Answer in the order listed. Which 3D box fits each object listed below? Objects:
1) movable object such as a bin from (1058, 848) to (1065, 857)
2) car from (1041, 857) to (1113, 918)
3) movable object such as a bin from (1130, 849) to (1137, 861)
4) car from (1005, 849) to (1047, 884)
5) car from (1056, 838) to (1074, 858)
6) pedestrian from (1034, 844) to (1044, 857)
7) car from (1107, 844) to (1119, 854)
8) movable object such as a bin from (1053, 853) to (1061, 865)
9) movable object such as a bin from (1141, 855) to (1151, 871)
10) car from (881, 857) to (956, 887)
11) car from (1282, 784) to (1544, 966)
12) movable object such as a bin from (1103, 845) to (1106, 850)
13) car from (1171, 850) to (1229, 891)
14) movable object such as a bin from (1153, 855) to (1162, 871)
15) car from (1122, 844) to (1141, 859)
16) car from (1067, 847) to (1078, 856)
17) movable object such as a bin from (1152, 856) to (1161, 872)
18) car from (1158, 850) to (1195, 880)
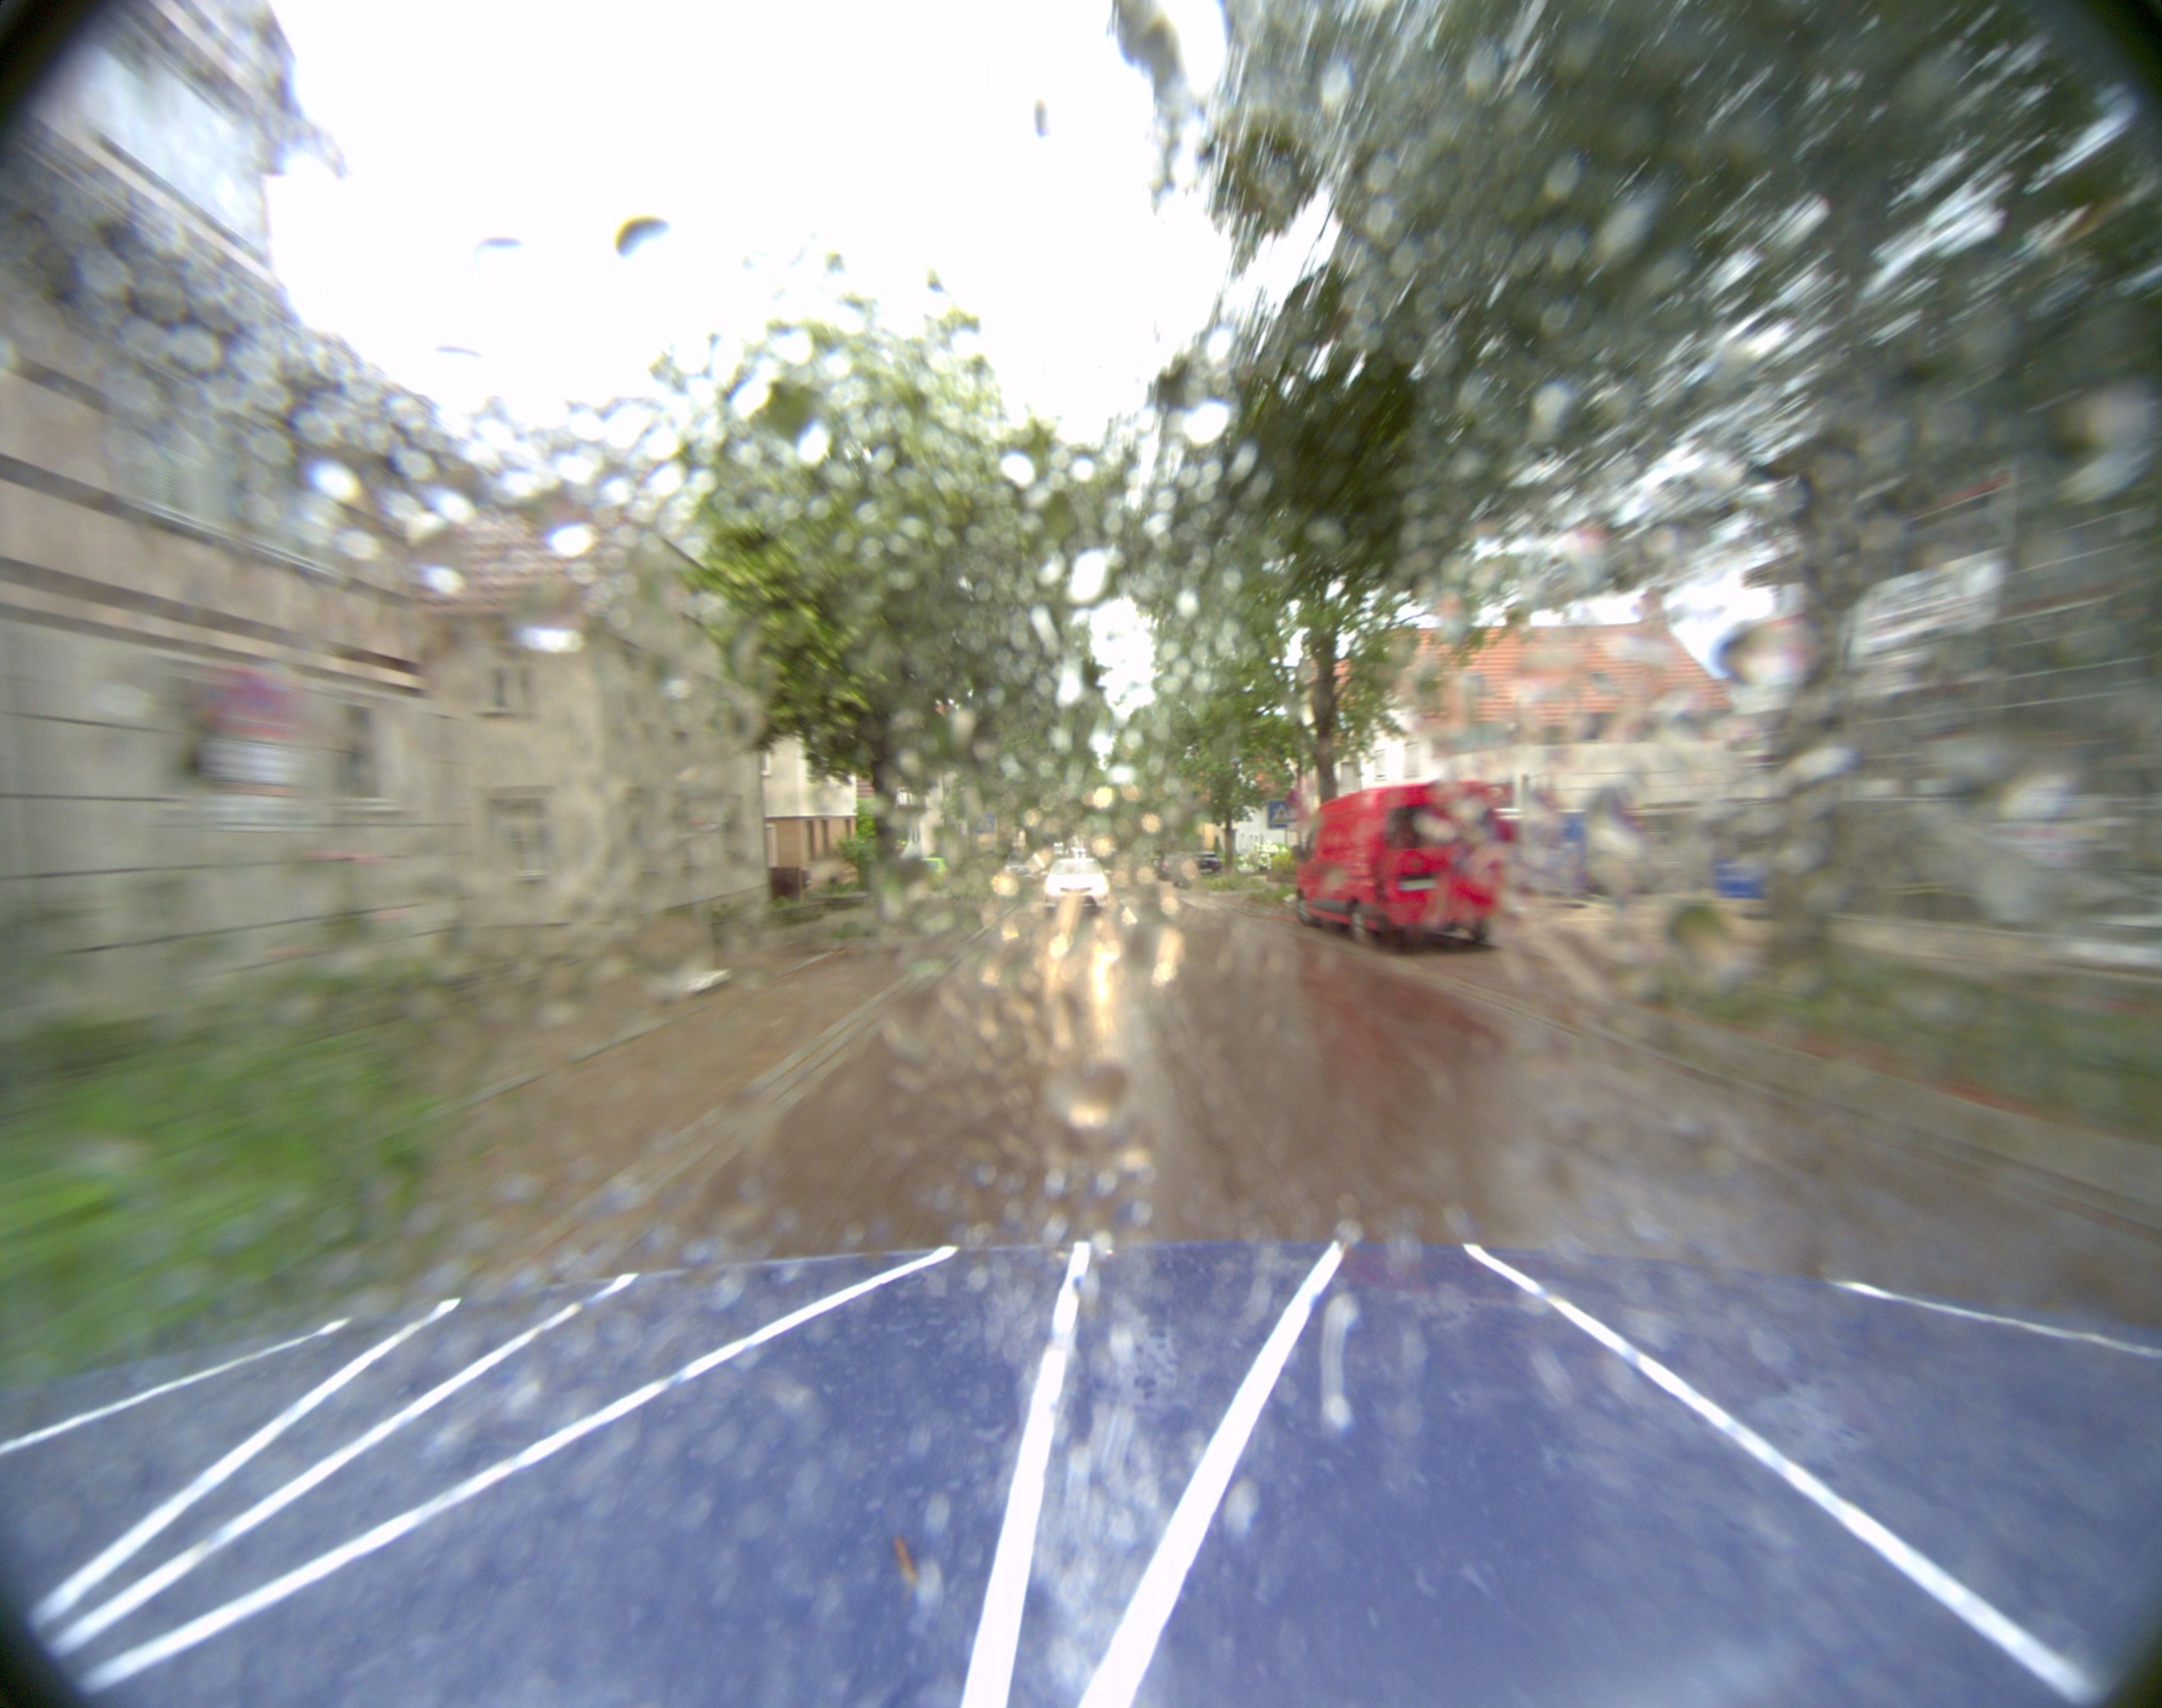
[{"bbox_3d":[-2.370,-0.209,91.182,0.799,1.069,0.878,-2,1,0],"label":"movable object such as a bin"},{"bbox_3d":[-0.028,0.872,21.579,1.828,1.451,3.875,-2,1,2],"label":"car"},{"bbox_3d":[5.102,0.094,73.229,0.596,1.056,0.545,-4,1,4],"label":"movable object such as a bin"},{"bbox_3d":[-3.007,0.647,42.310,1.919,1.782,4.487,-2,1,0],"label":"car"},{"bbox_3d":[-2.091,-0.780,99.974,2.146,2.446,5.434,-2,1,0],"label":"car"},{"bbox_3d":[-5.145,-0.438,93.176,0.955,1.642,0.794,0,2,14],"label":"pedestrian"},{"bbox_3d":[4.910,-0.776,117.584,1.754,1.388,3.795,-2,1,1],"label":"car"},{"bbox_3d":[-2.241,0.430,70.600,0.645,1.076,0.540,-2,1,-4],"label":"movable object such as a bin"},{"bbox_3d":[4.647,0.665,54.320,0.644,1.105,0.536,-1,1,2],"label":"movable object such as a bin"},{"bbox_3d":[-7.942,0.860,37.324,3.374,1.422,1.630,0,1,-3],"label":"car"},{"bbox_3d":[5.391,0.310,13.482,2.309,2.468,5.786,-2,0,3],"label":"car"},{"bbox_3d":[5.053,-1.316,162.613,0.618,1.053,0.568,-4,2,-1],"label":"movable object such as a bin"},{"bbox_3d":[5.109,0.665,33.125,1.776,1.544,3.999,-4,0,-1],"label":"car"},{"bbox_3d":[5.387,0.634,53.463,0.612,1.105,0.564,-1,1,2],"label":"movable object such as a bin"},{"bbox_3d":[5.338,-0.278,80.326,1.776,1.381,4.545,-3,1,1],"label":"car"},{"bbox_3d":[-1.424,-0.465,128.937,1.685,1.391,3.794,-1,1,-1],"label":"car"},{"bbox_3d":[5.391,0.695,54.143,0.612,1.105,0.564,-1,1,2],"label":"movable object such as a bin"},{"bbox_3d":[5.311,0.599,42.591,1.651,1.524,3.866,-3,0,2],"label":"car"}]
